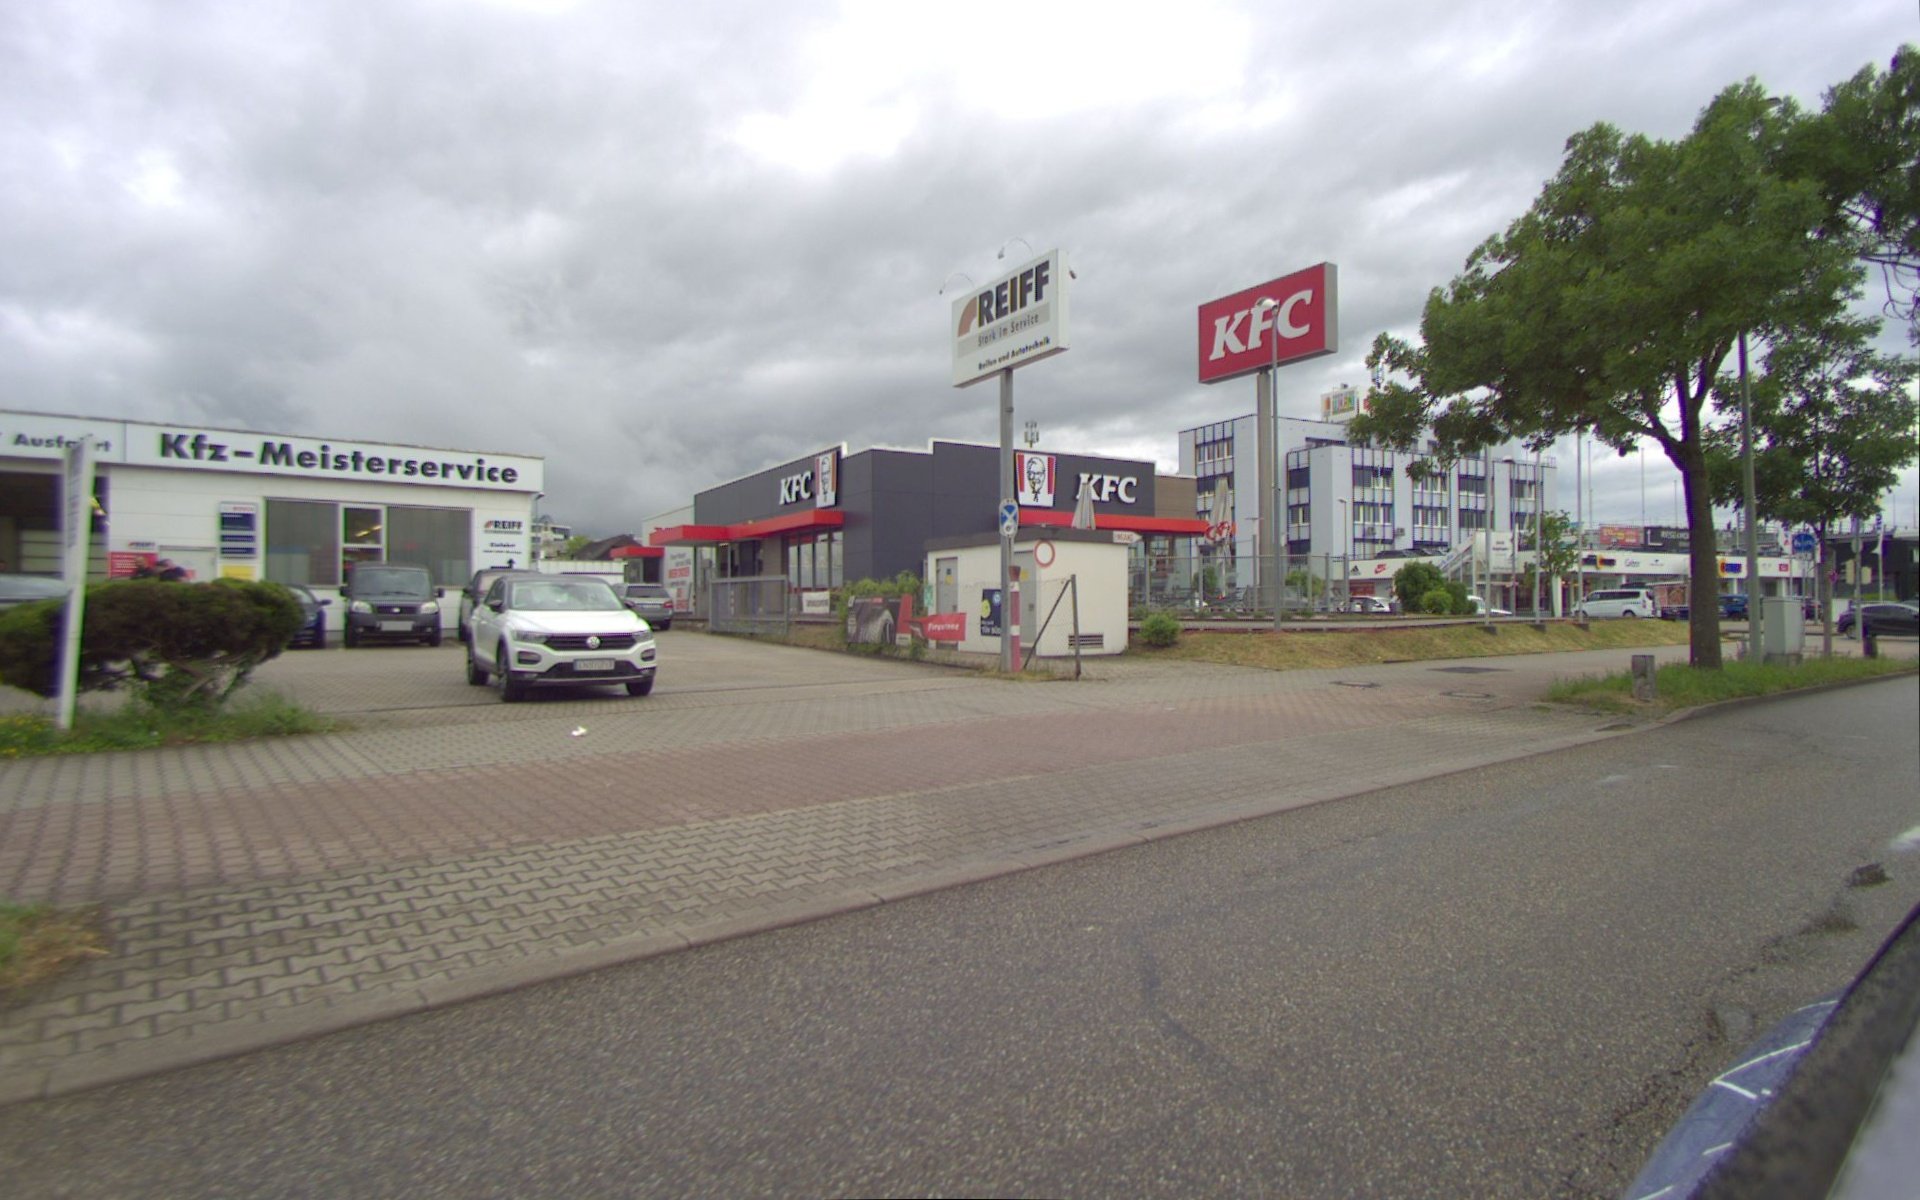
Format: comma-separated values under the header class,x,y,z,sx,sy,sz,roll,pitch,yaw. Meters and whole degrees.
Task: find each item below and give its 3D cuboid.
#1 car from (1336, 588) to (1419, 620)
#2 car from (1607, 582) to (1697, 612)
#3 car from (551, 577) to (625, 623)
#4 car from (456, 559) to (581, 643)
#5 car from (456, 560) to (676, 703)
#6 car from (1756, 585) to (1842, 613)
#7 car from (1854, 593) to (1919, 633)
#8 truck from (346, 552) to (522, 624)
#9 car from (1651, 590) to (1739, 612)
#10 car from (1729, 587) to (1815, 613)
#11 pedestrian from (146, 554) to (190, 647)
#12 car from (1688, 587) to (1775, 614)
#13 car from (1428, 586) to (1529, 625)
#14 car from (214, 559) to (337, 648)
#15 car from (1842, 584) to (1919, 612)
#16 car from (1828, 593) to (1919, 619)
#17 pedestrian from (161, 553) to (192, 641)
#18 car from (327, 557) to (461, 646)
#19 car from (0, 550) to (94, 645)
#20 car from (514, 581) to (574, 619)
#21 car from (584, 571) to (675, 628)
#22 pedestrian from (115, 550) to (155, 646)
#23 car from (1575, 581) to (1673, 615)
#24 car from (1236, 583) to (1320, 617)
class,x,y,z,sx,sy,sz,roll,pitch,yaw
car,23.032,0.192,55.971,1.787,1.730,4.004,0,0,-30
car,44.064,-0.216,64.555,1.858,1.843,4.381,0,0,-27
car,-13.968,-0.037,37.881,1.865,1.620,3.874,0,1,-32
car,-10.015,0.000,22.805,1.919,1.701,4.001,0,0,-33
car,-5.341,0.328,13.376,1.853,1.571,4.189,0,0,-34
car,59.690,-0.086,72.067,1.858,1.930,4.381,0,0,-27
car,39.541,0.525,41.494,1.780,1.559,4.000,-1,1,-35
truck,-27.744,-0.595,53.649,8.021,3.572,2.278,0,-1,-39
car,48.256,0.059,66.555,1.786,1.411,4.381,0,0,-27
car,57.191,-0.029,71.342,1.858,1.786,4.381,0,0,-27
pedestrian,-15.021,0.001,19.194,0.433,1.726,0.512,0,0,23
car,52.765,0.019,69.289,1.858,1.786,4.381,0,0,-27
car,26.101,0.251,51.100,1.763,1.806,4.253,3,-1,-30
car,-13.831,0.023,20.371,1.744,1.599,3.997,0,1,-39
car,70.234,-0.151,77.249,1.871,2.039,4.007,0,0,-24
car,52.046,0.318,57.225,1.785,1.411,4.134,0,0,-23
pedestrian,-16.487,-0.070,21.292,0.495,1.807,0.516,0,0,-36
car,-12.189,-0.012,21.669,1.921,1.701,3.997,0,1,-38
car,-16.280,-0.042,17.640,1.756,1.497,3.854,0,0,-40
car,-18.271,-0.029,44.365,1.865,1.620,3.874,0,1,-32
car,-10.724,-0.049,32.675,1.865,1.722,4.181,0,1,-32
pedestrian,-15.901,-0.044,19.501,0.505,1.807,0.439,0,0,-26
car,41.273,-0.144,63.008,1.959,2.039,4.795,1,0,-26
car,16.991,-0.011,54.049,4.415,1.762,1.893,0,0,-33
